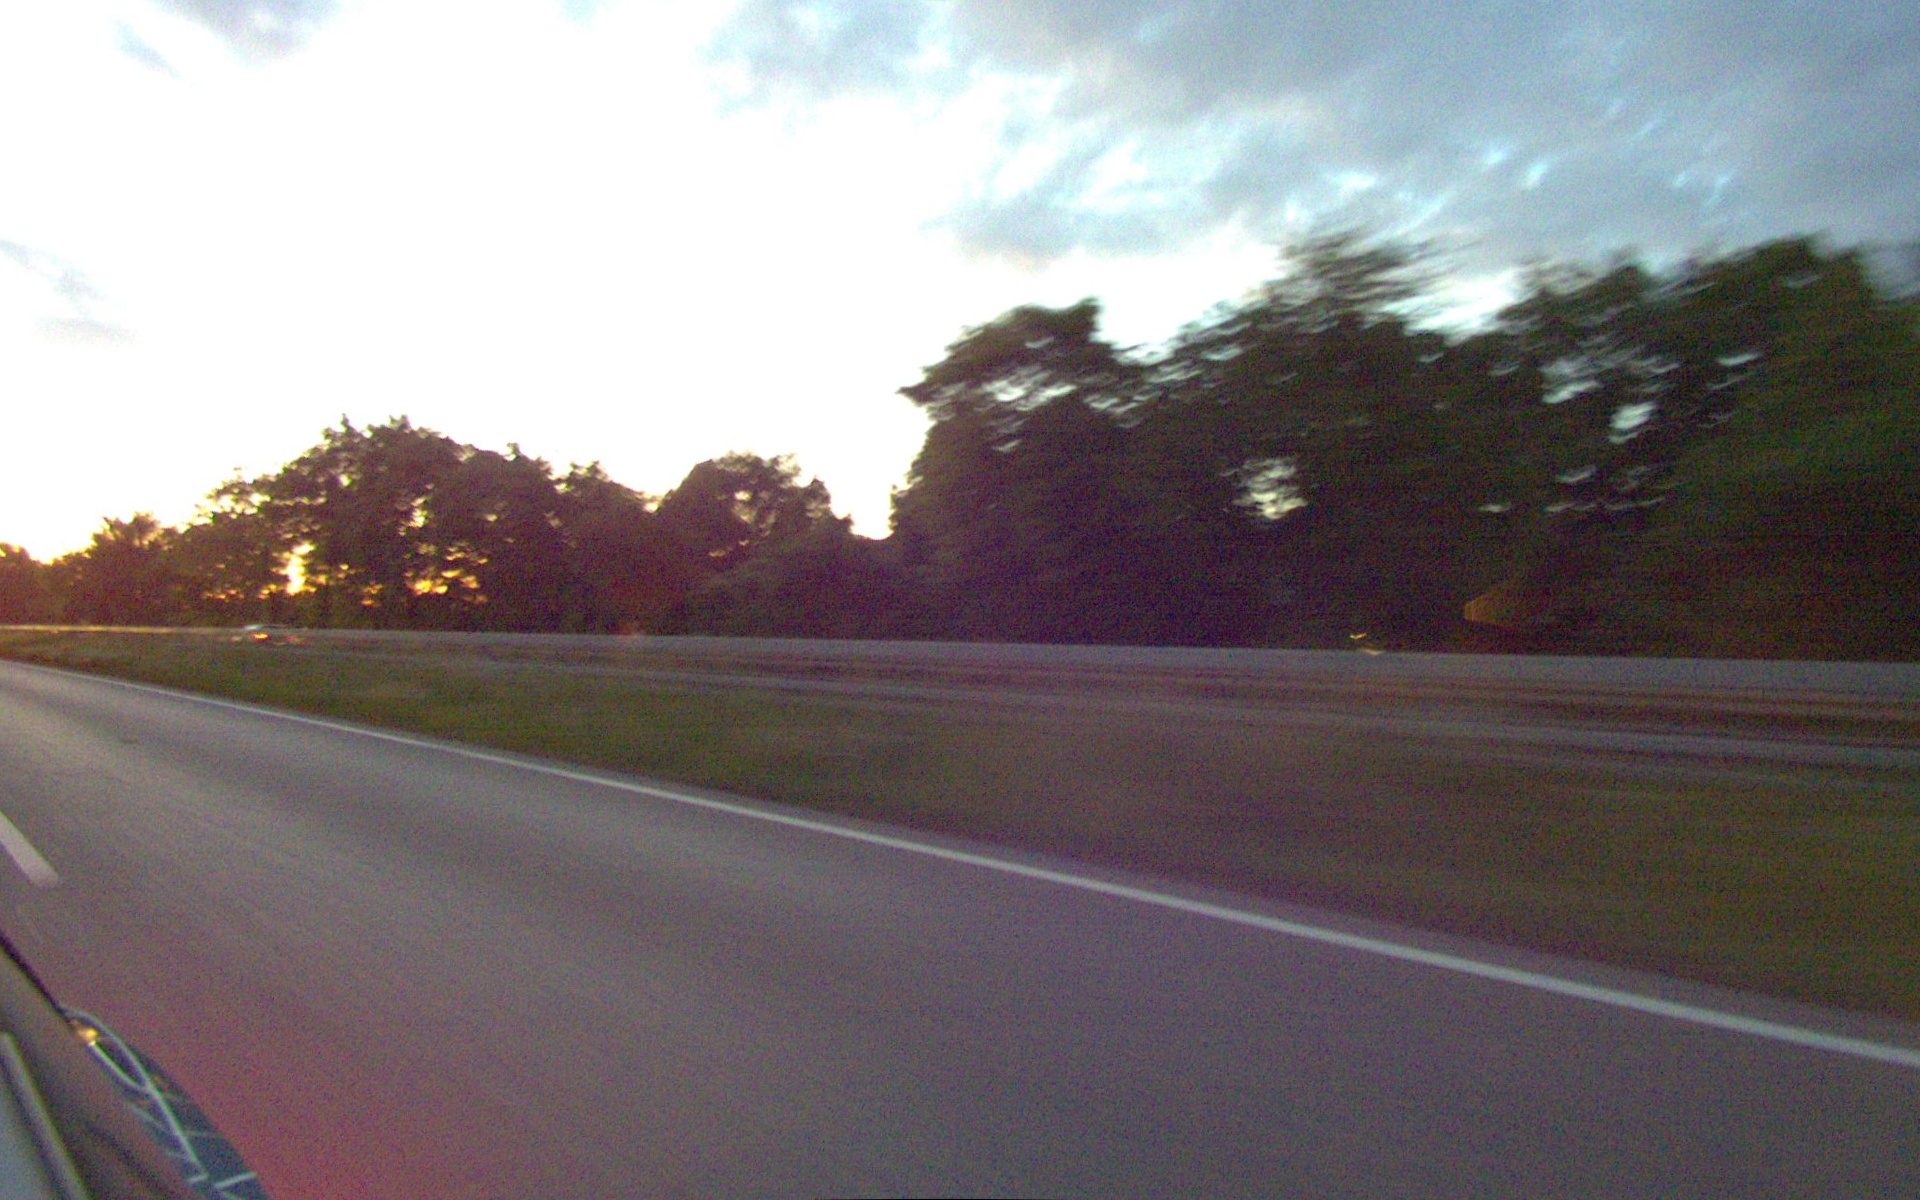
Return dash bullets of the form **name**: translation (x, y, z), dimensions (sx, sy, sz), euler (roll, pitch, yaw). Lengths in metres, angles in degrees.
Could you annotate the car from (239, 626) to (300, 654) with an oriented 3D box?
- **car**: translation (-34.492, 1.963, 50.543), dimensions (3.938, 1.333, 1.612), euler (-1, -1, 41)
